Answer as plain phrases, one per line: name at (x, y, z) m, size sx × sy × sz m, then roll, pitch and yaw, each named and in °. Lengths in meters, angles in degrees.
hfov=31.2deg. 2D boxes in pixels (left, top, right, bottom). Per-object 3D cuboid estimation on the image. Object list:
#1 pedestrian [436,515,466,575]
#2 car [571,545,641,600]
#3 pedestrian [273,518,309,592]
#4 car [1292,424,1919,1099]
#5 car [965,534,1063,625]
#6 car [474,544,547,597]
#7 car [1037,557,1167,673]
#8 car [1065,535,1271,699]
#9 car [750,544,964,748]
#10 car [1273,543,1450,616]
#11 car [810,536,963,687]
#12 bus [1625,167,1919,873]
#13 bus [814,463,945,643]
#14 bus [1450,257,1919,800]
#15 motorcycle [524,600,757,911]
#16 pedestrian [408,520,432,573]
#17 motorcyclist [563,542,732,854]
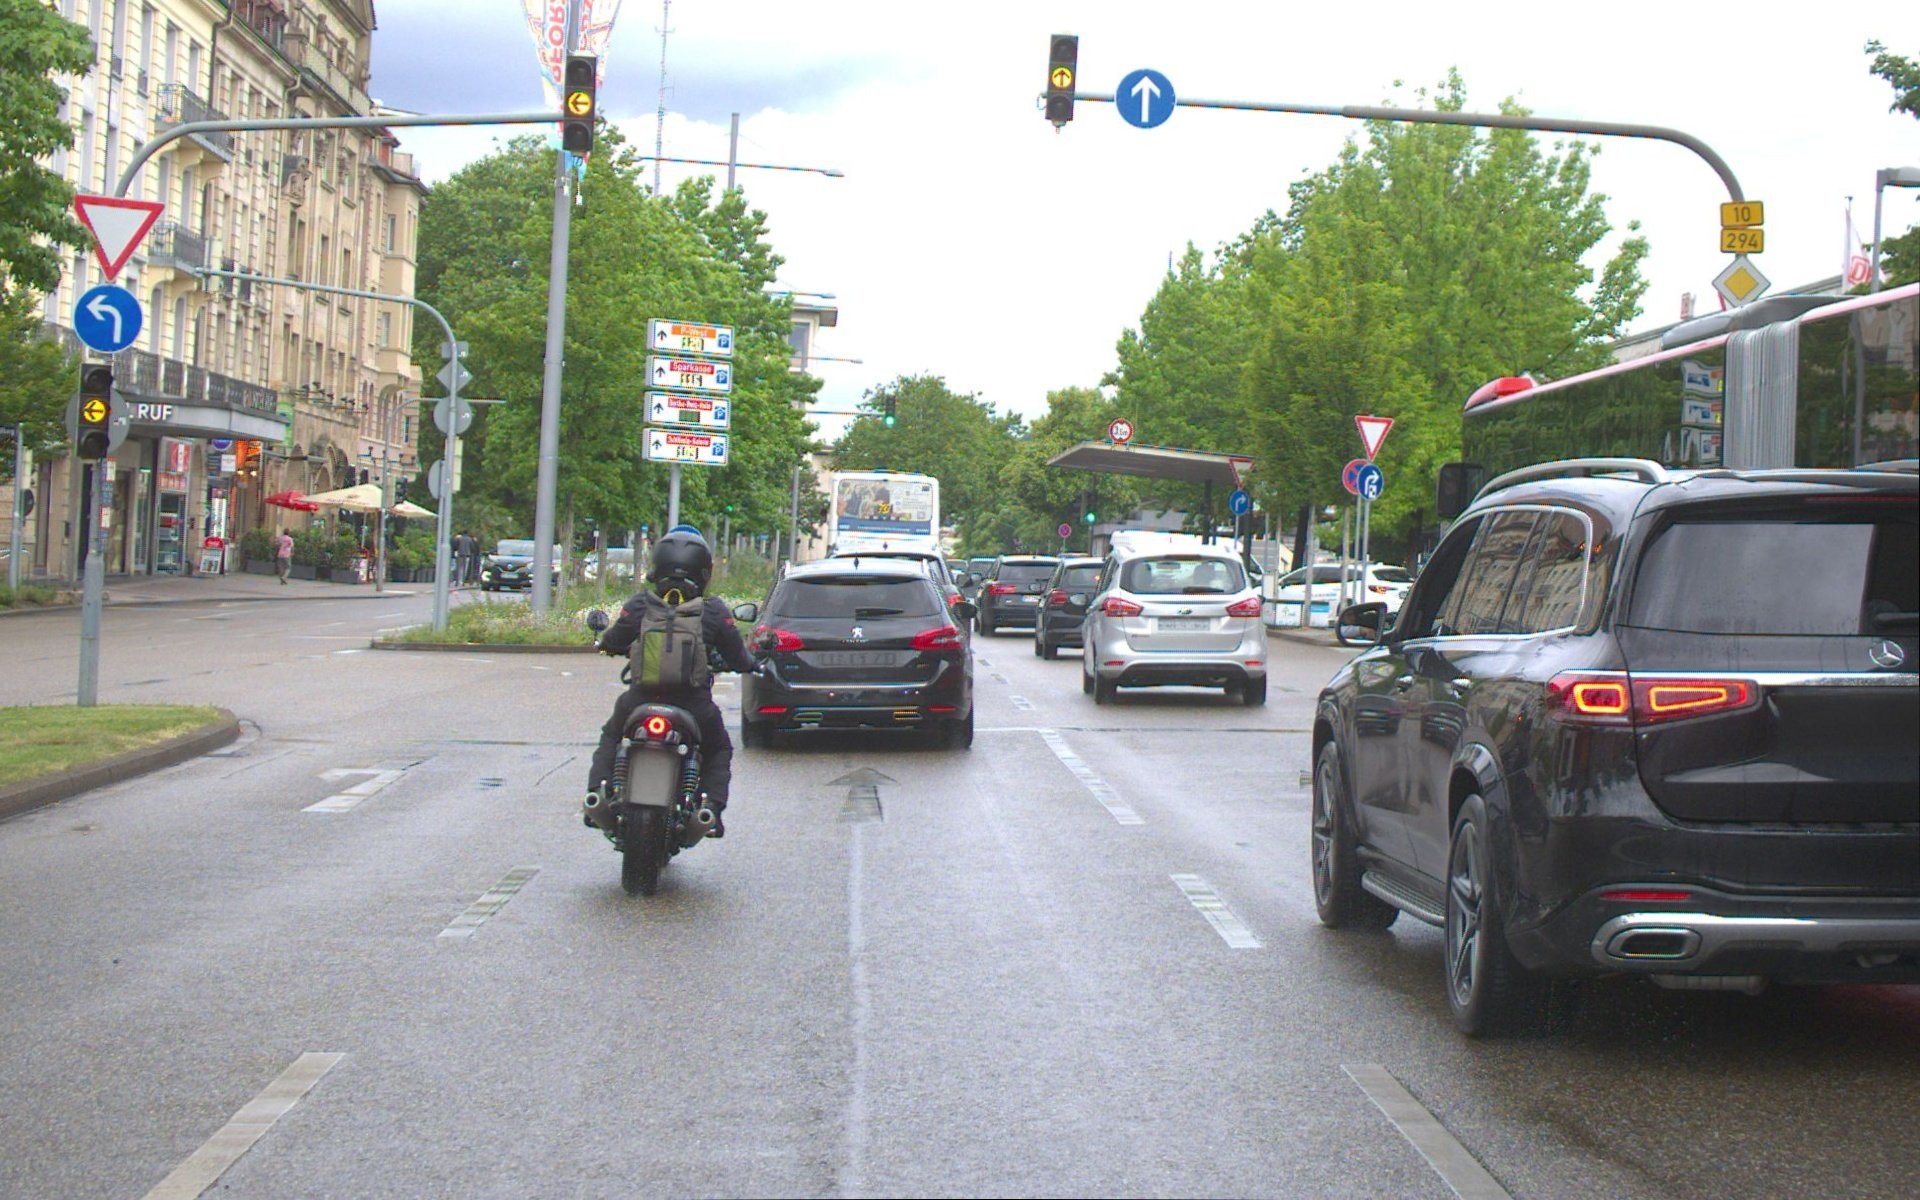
pedestrian at (-16.796, -1.814, 113.479) m, size 0.724 × 1.959 × 0.826 m, roll 1°, pitch 1°, yaw -28°
car at (-10.322, -0.818, 100.428) m, size 1.780 × 1.562 × 3.430 m, roll 0°, pitch 1°, yaw -1°
pedestrian at (-18.363, -1.247, 94.305) m, size 0.724 × 2.007 × 0.826 m, roll 1°, pitch 1°, yaw -28°
car at (2.435, 0.408, 11.990) m, size 1.957 × 1.869 × 4.874 m, roll 0°, pitch 1°, yaw -1°
car at (0.937, -0.378, 61.095) m, size 1.575 × 1.562 × 3.796 m, roll 0°, pitch 1°, yaw -1°
car at (-13.334, -0.888, 102.118) m, size 1.780 × 1.562 × 3.430 m, roll 0°, pitch 1°, yaw -1°
car at (1.974, 0.177, 48.721) m, size 1.575 × 1.562 × 3.871 m, roll 0°, pitch 1°, yaw -1°
car at (2.044, 0.134, 34.754) m, size 1.741 × 1.562 × 3.871 m, roll 0°, pitch 1°, yaw -1°
car at (-0.783, 0.312, 27.300) m, size 1.575 × 1.499 × 3.871 m, roll 0°, pitch 1°, yaw -1°
car at (8.786, -0.466, 75.463) m, size 1.576 × 1.562 × 3.794 m, roll -1°, pitch 1°, yaw -40°
car at (-0.813, 0.091, 37.513) m, size 1.575 × 1.562 × 3.871 m, roll 0°, pitch 1°, yaw -1°
bus at (6.088, -0.362, 17.016) m, size 3.286 × 3.280 × 10.878 m, roll 1°, pitch 1°, yaw -1°
bus at (-2.012, -1.091, 83.331) m, size 2.837 × 3.974 × 11.864 m, roll 2°, pitch 0°, yaw -2°
bus at (5.980, -0.470, 25.361) m, size 3.291 × 3.278 × 8.850 m, roll 1°, pitch 1°, yaw -1°
motorcycle at (-1.379, 0.645, 15.179) m, size 0.793 × 1.258 × 1.855 m, roll 0°, pitch 1°, yaw 2°
pedestrian at (-17.947, -1.775, 114.322) m, size 0.561 × 1.772 × 0.498 m, roll 1°, pitch 1°, yaw 34°
motorcyclist at (-1.379, 0.420, 15.252) m, size 0.641 × 1.343 × 0.689 m, roll 1°, pitch 1°, yaw 2°
